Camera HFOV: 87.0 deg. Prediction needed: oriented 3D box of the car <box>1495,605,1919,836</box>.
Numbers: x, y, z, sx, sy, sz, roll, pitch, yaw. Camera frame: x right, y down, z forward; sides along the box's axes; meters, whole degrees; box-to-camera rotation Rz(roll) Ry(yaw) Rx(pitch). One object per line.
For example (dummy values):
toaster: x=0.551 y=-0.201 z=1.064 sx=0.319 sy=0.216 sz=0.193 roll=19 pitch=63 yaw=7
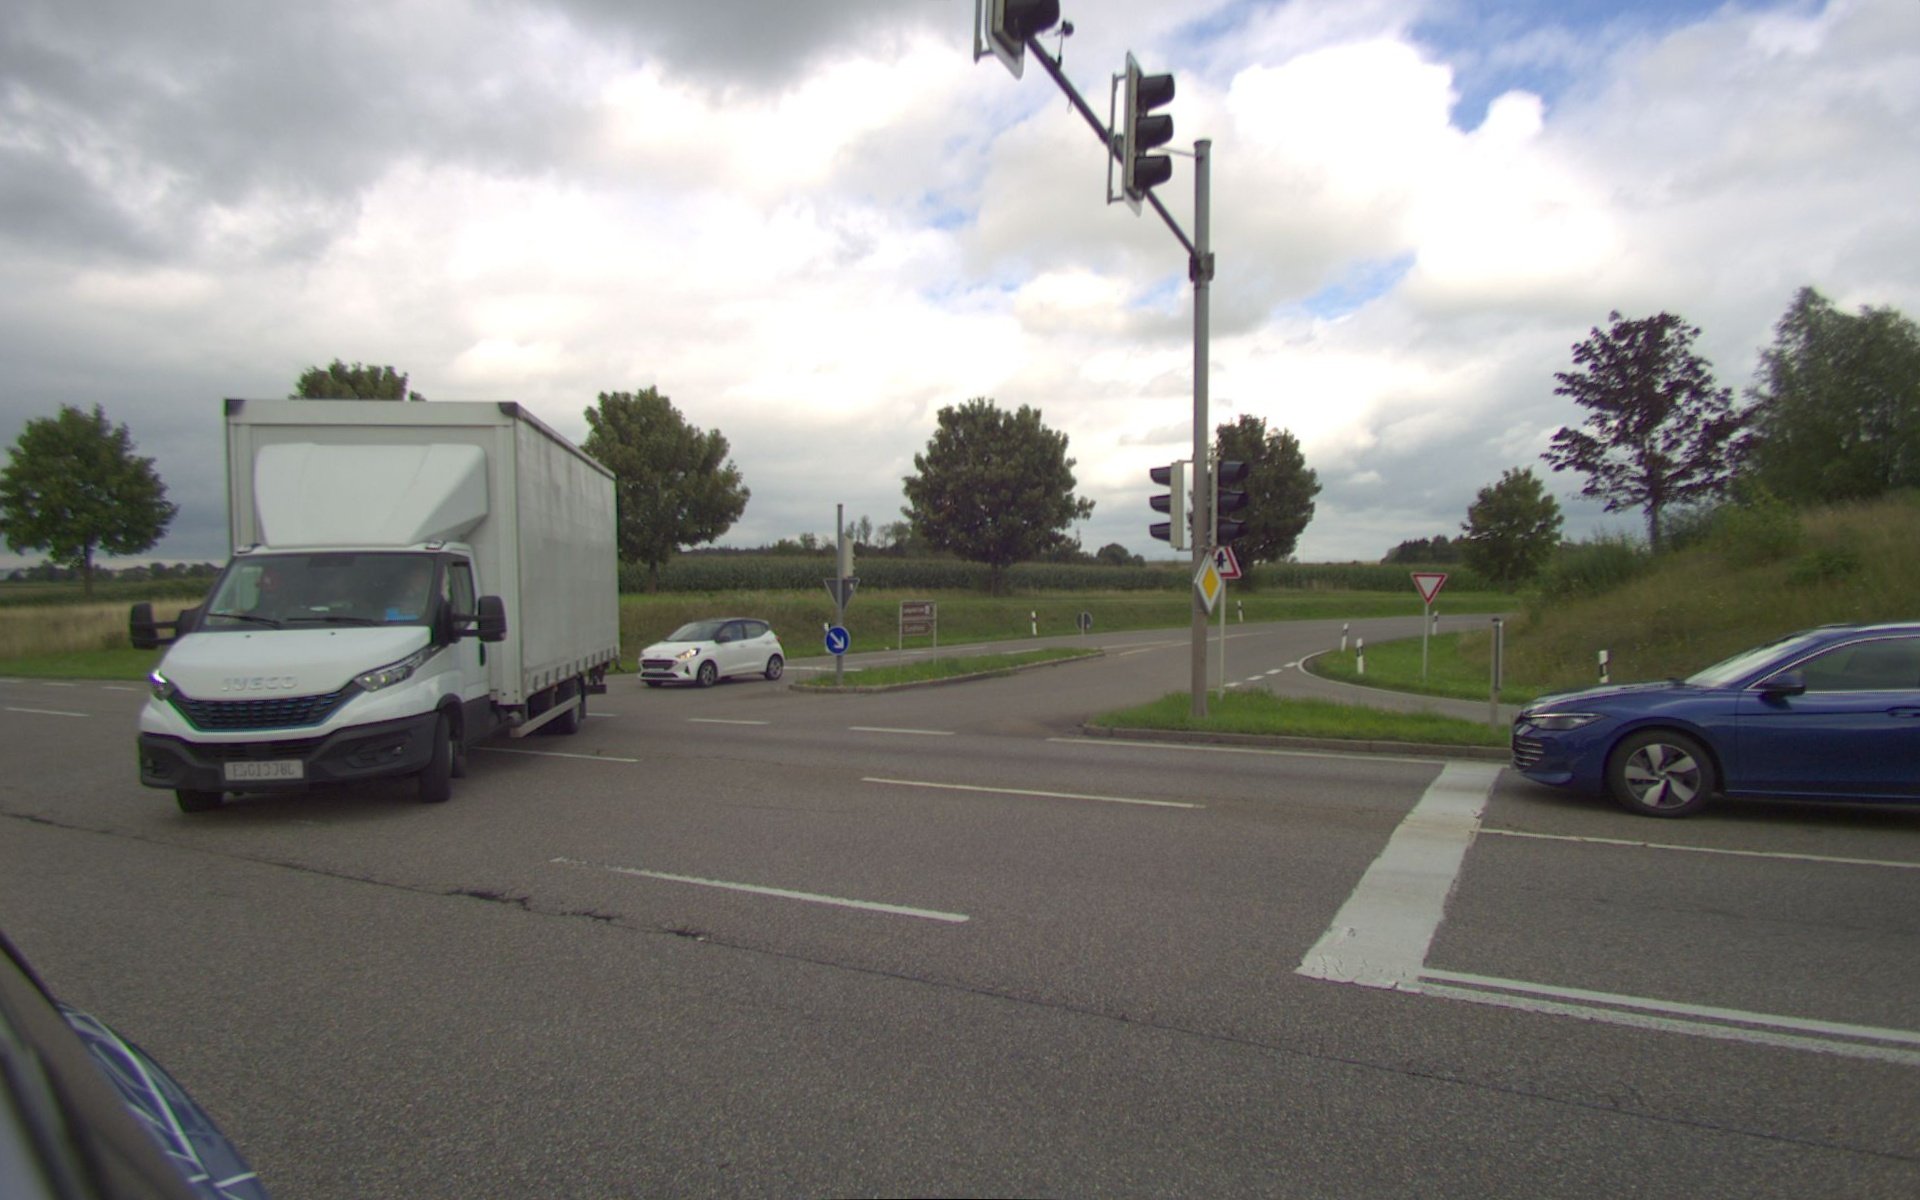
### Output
car: x=7.016 y=0.818 z=7.656 sx=5.097 sy=1.546 sz=2.034 roll=-1 pitch=-1 yaw=25

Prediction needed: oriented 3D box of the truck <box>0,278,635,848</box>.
truck: x=-5.789 y=-0.163 z=11.263 sx=2.794 sy=3.792 sz=8.816 roll=0 pitch=-1 yaw=-9

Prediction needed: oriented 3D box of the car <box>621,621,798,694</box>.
car: x=-5.672 y=1.254 z=23.372 sx=1.802 sy=1.463 sz=3.962 roll=-1 pitch=-1 yaw=28

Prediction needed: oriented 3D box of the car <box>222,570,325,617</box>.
car: x=-31.680 y=-0.292 z=46.707 sx=3.970 sy=2.029 sz=1.987 roll=-1 pitch=1 yaw=20
